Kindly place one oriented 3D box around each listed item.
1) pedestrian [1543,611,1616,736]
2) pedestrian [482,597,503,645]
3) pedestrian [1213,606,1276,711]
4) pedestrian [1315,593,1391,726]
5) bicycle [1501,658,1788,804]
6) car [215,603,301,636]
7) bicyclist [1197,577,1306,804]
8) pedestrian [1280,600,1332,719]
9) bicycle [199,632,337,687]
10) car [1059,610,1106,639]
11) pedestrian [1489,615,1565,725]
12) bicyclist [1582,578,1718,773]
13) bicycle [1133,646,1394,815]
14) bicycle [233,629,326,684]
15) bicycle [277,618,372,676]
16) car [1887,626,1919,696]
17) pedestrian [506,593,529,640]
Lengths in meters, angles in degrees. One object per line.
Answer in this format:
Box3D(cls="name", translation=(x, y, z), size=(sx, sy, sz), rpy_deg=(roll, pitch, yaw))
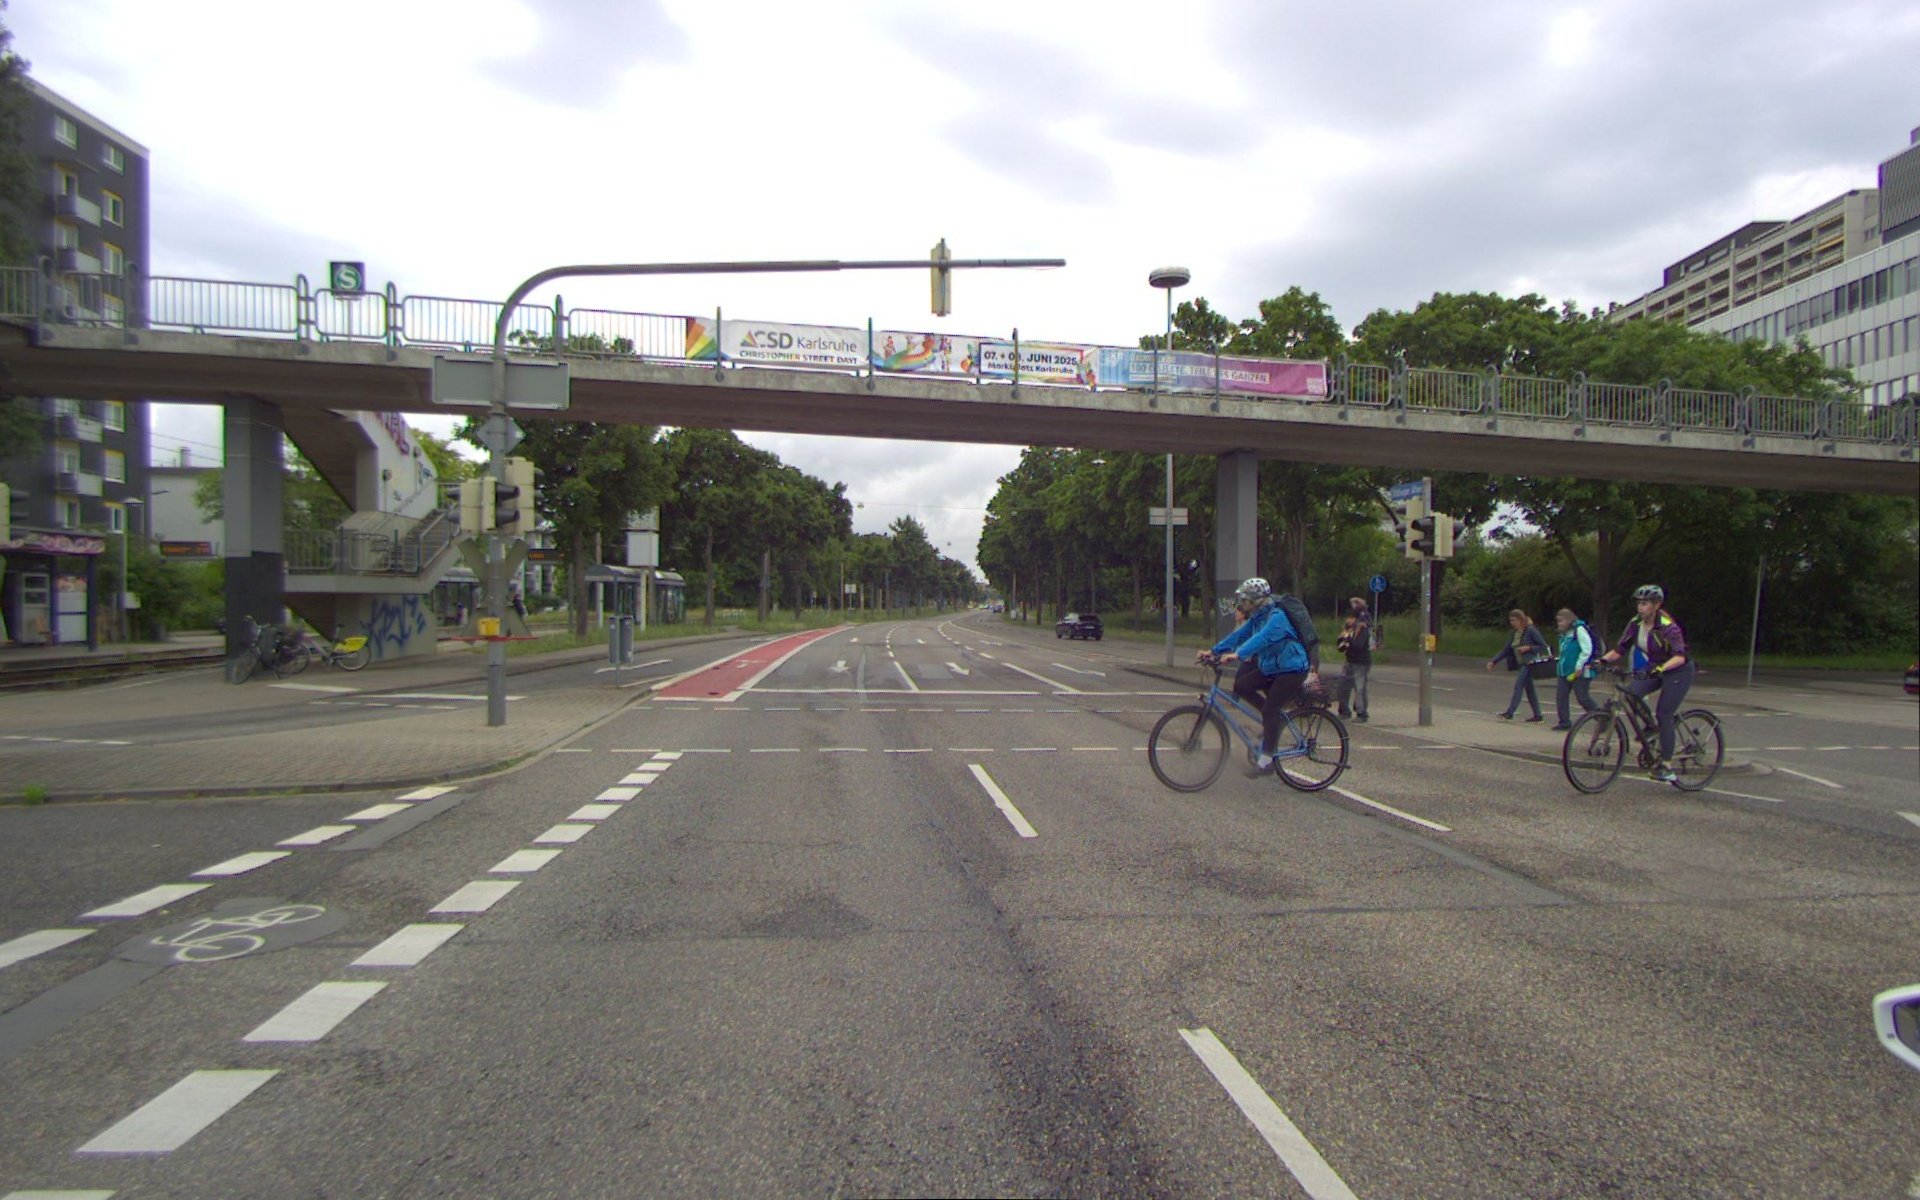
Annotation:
Box3D(cls="pedestrian", translation=(8.322, 0.959, 13.498), size=(0.480, 1.626, 0.687), rpy_deg=(0, 0, -16))
Box3D(cls="pedestrian", translation=(-15.451, 0.697, 33.223), size=(0.550, 1.585, 0.334), rpy_deg=(0, 0, -12))
Box3D(cls="pedestrian", translation=(4.474, 0.896, 15.780), size=(0.772, 1.600, 0.576), rpy_deg=(0, 0, -31))
Box3D(cls="pedestrian", translation=(5.579, 0.820, 14.268), size=(0.790, 1.828, 0.636), rpy_deg=(0, 0, -21))
Box3D(cls="bicycle", translation=(5.887, 1.086, 8.665), size=(2.225, 1.116, 0.727), rpy_deg=(0, 0, -13))
Box3D(cls="car", translation=(-35.933, 0.974, 51.538), size=(1.636, 1.581, 3.999), rpy_deg=(0, 0, -2))
Box3D(cls="bicyclist", translation=(2.404, 0.720, 8.325), size=(0.636, 1.792, 0.644), rpy_deg=(0, 0, -13))
Box3D(cls="pedestrian", translation=(5.089, 0.857, 14.771), size=(0.400, 1.714, 0.616), rpy_deg=(0, 0, -26))
Box3D(cls="bicycle", translation=(-12.735, 1.068, 18.598), size=(0.546, 0.900, 2.408), rpy_deg=(0, 0, 12))
Box3D(cls="car", translation=(6.821, 1.332, 56.237), size=(1.641, 1.528, 4.393), rpy_deg=(0, 0, -6))
Box3D(cls="pedestrian", translation=(8.233, 0.988, 14.615), size=(0.398, 1.531, 0.915), rpy_deg=(0, 0, -23))
Box3D(cls="bicyclist", translation=(5.969, 0.630, 8.711), size=(0.683, 1.615, 0.679), rpy_deg=(1, 0, -12))
Box3D(cls="bicycle", translation=(2.516, 1.044, 8.339), size=(2.074, 1.284, 0.543), rpy_deg=(0, 0, -13))
Box3D(cls="bicycle", translation=(-12.636, 1.027, 18.716), size=(0.367, 0.933, 2.037), rpy_deg=(0, -1, -1))
Box3D(cls="bicycle", translation=(-12.806, 0.932, 20.265), size=(1.601, 1.109, 0.347), rpy_deg=(1, 0, -39))
Box3D(cls="car", translation=(21.316, 1.266, 20.303), size=(3.463, 1.409, 1.517), rpy_deg=(1, 0, 21))
Box3D(cls="pedestrian", translation=(-15.680, 0.578, 35.610), size=(0.590, 1.664, 0.663), rpy_deg=(0, 0, -7))
